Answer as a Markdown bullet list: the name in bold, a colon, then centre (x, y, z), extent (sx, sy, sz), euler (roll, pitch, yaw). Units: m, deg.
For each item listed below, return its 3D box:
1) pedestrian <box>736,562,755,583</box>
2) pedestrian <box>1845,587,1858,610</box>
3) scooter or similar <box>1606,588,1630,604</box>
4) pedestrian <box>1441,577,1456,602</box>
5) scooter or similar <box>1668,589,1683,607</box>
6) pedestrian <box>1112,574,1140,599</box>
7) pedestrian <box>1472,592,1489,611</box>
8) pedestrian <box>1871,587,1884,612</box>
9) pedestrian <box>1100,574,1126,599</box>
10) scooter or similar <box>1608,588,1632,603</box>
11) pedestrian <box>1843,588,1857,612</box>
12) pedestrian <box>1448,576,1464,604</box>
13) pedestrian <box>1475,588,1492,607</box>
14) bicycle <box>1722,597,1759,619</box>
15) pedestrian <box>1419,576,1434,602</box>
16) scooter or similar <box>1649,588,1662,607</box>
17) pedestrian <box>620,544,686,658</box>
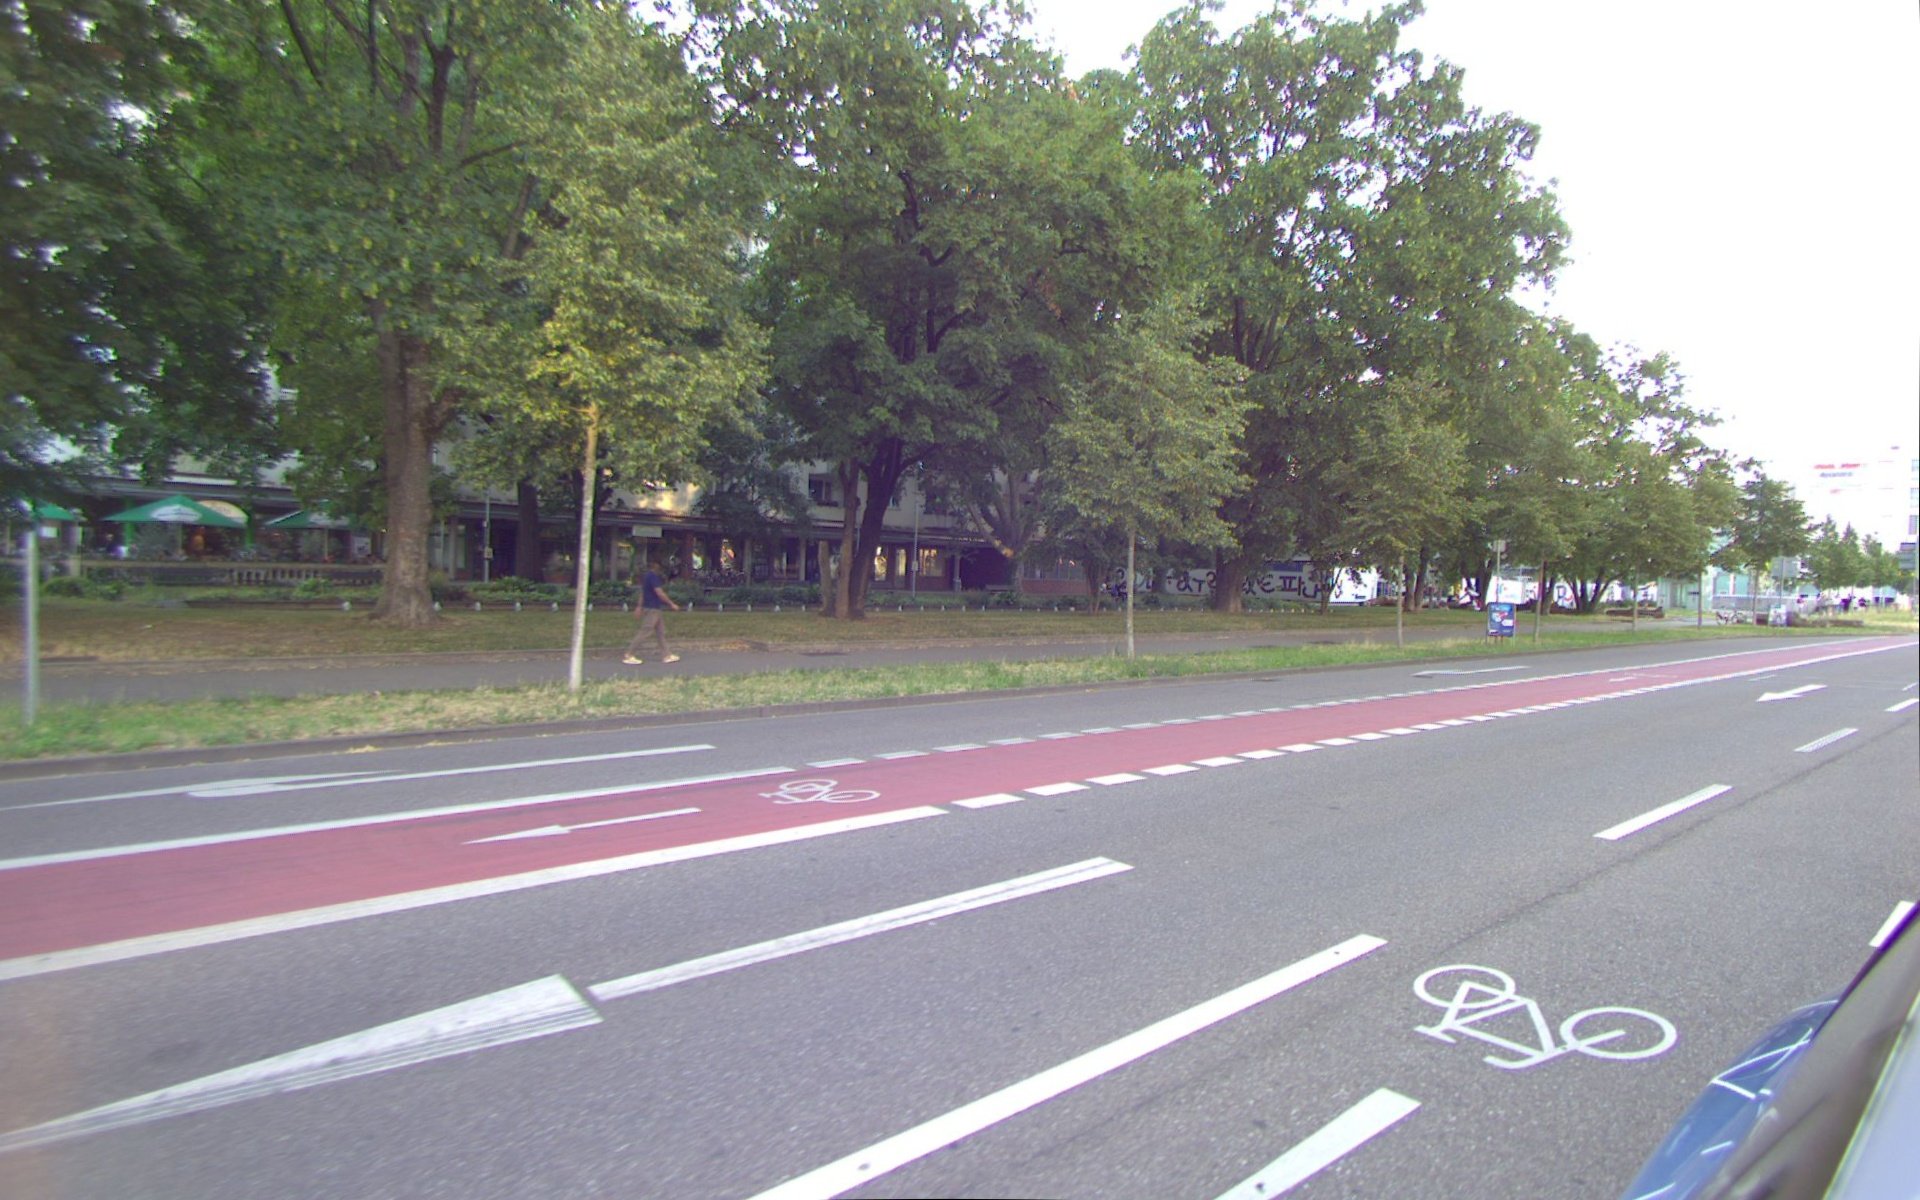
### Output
- **pedestrian**: centre (-12.362, -1.582, 58.299), extent (0.774, 1.178, 0.699), euler (1, 1, -39)
- **pedestrian**: centre (76.183, -0.100, 86.453), extent (0.608, 1.957, 0.644), euler (1, 2, -38)
- **scooter or similar**: centre (54.129, -0.344, 83.279), extent (0.466, 1.236, 1.571), euler (0, 1, -42)
- **pedestrian**: centre (35.735, -0.764, 74.013), extent (0.587, 1.843, 0.771), euler (1, 1, -25)
- **scooter or similar**: centre (49.674, -0.139, 70.232), extent (1.373, 1.235, 0.425), euler (1, 4, -40)
- **pedestrian**: centre (8.822, -0.701, 53.773), extent (0.889, 1.276, 1.135), euler (1, 2, -38)
- **pedestrian**: centre (25.872, 0.078, 50.306), extent (0.674, 0.895, 0.618), euler (2, 2, 27)
- **pedestrian**: centre (73.078, -0.061, 80.614), extent (0.608, 1.957, 0.644), euler (1, 2, -40)
- **pedestrian**: centre (8.051, -0.716, 53.240), extent (0.712, 1.276, 1.135), euler (1, 2, -37)
- **scooter or similar**: centre (54.692, -0.361, 83.857), extent (0.466, 1.236, 1.571), euler (0, 1, -42)
- **pedestrian**: centre (72.744, 0.012, 82.723), extent (0.608, 1.957, 0.644), euler (1, 2, -38)
- **pedestrian**: centre (35.449, -0.728, 72.330), extent (0.587, 1.943, 0.771), euler (1, 1, -25)
- **pedestrian**: centre (25.693, -0.127, 49.698), extent (0.674, 0.895, 0.588), euler (2, 1, 25)
- **bicycle**: centre (39.964, 0.411, 51.819), extent (1.858, 1.017, 0.497), euler (2, 4, -20)
- **pedestrian**: centre (34.245, -0.846, 74.342), extent (0.587, 1.879, 0.771), euler (1, 1, -25)
- **scooter or similar**: centre (48.868, -0.178, 71.082), extent (0.473, 1.235, 1.550), euler (6, 4, 43)
- **pedestrian**: centre (-4.791, -0.001, 15.777), extent (0.735, 1.714, 0.696), euler (0, 2, -41)
